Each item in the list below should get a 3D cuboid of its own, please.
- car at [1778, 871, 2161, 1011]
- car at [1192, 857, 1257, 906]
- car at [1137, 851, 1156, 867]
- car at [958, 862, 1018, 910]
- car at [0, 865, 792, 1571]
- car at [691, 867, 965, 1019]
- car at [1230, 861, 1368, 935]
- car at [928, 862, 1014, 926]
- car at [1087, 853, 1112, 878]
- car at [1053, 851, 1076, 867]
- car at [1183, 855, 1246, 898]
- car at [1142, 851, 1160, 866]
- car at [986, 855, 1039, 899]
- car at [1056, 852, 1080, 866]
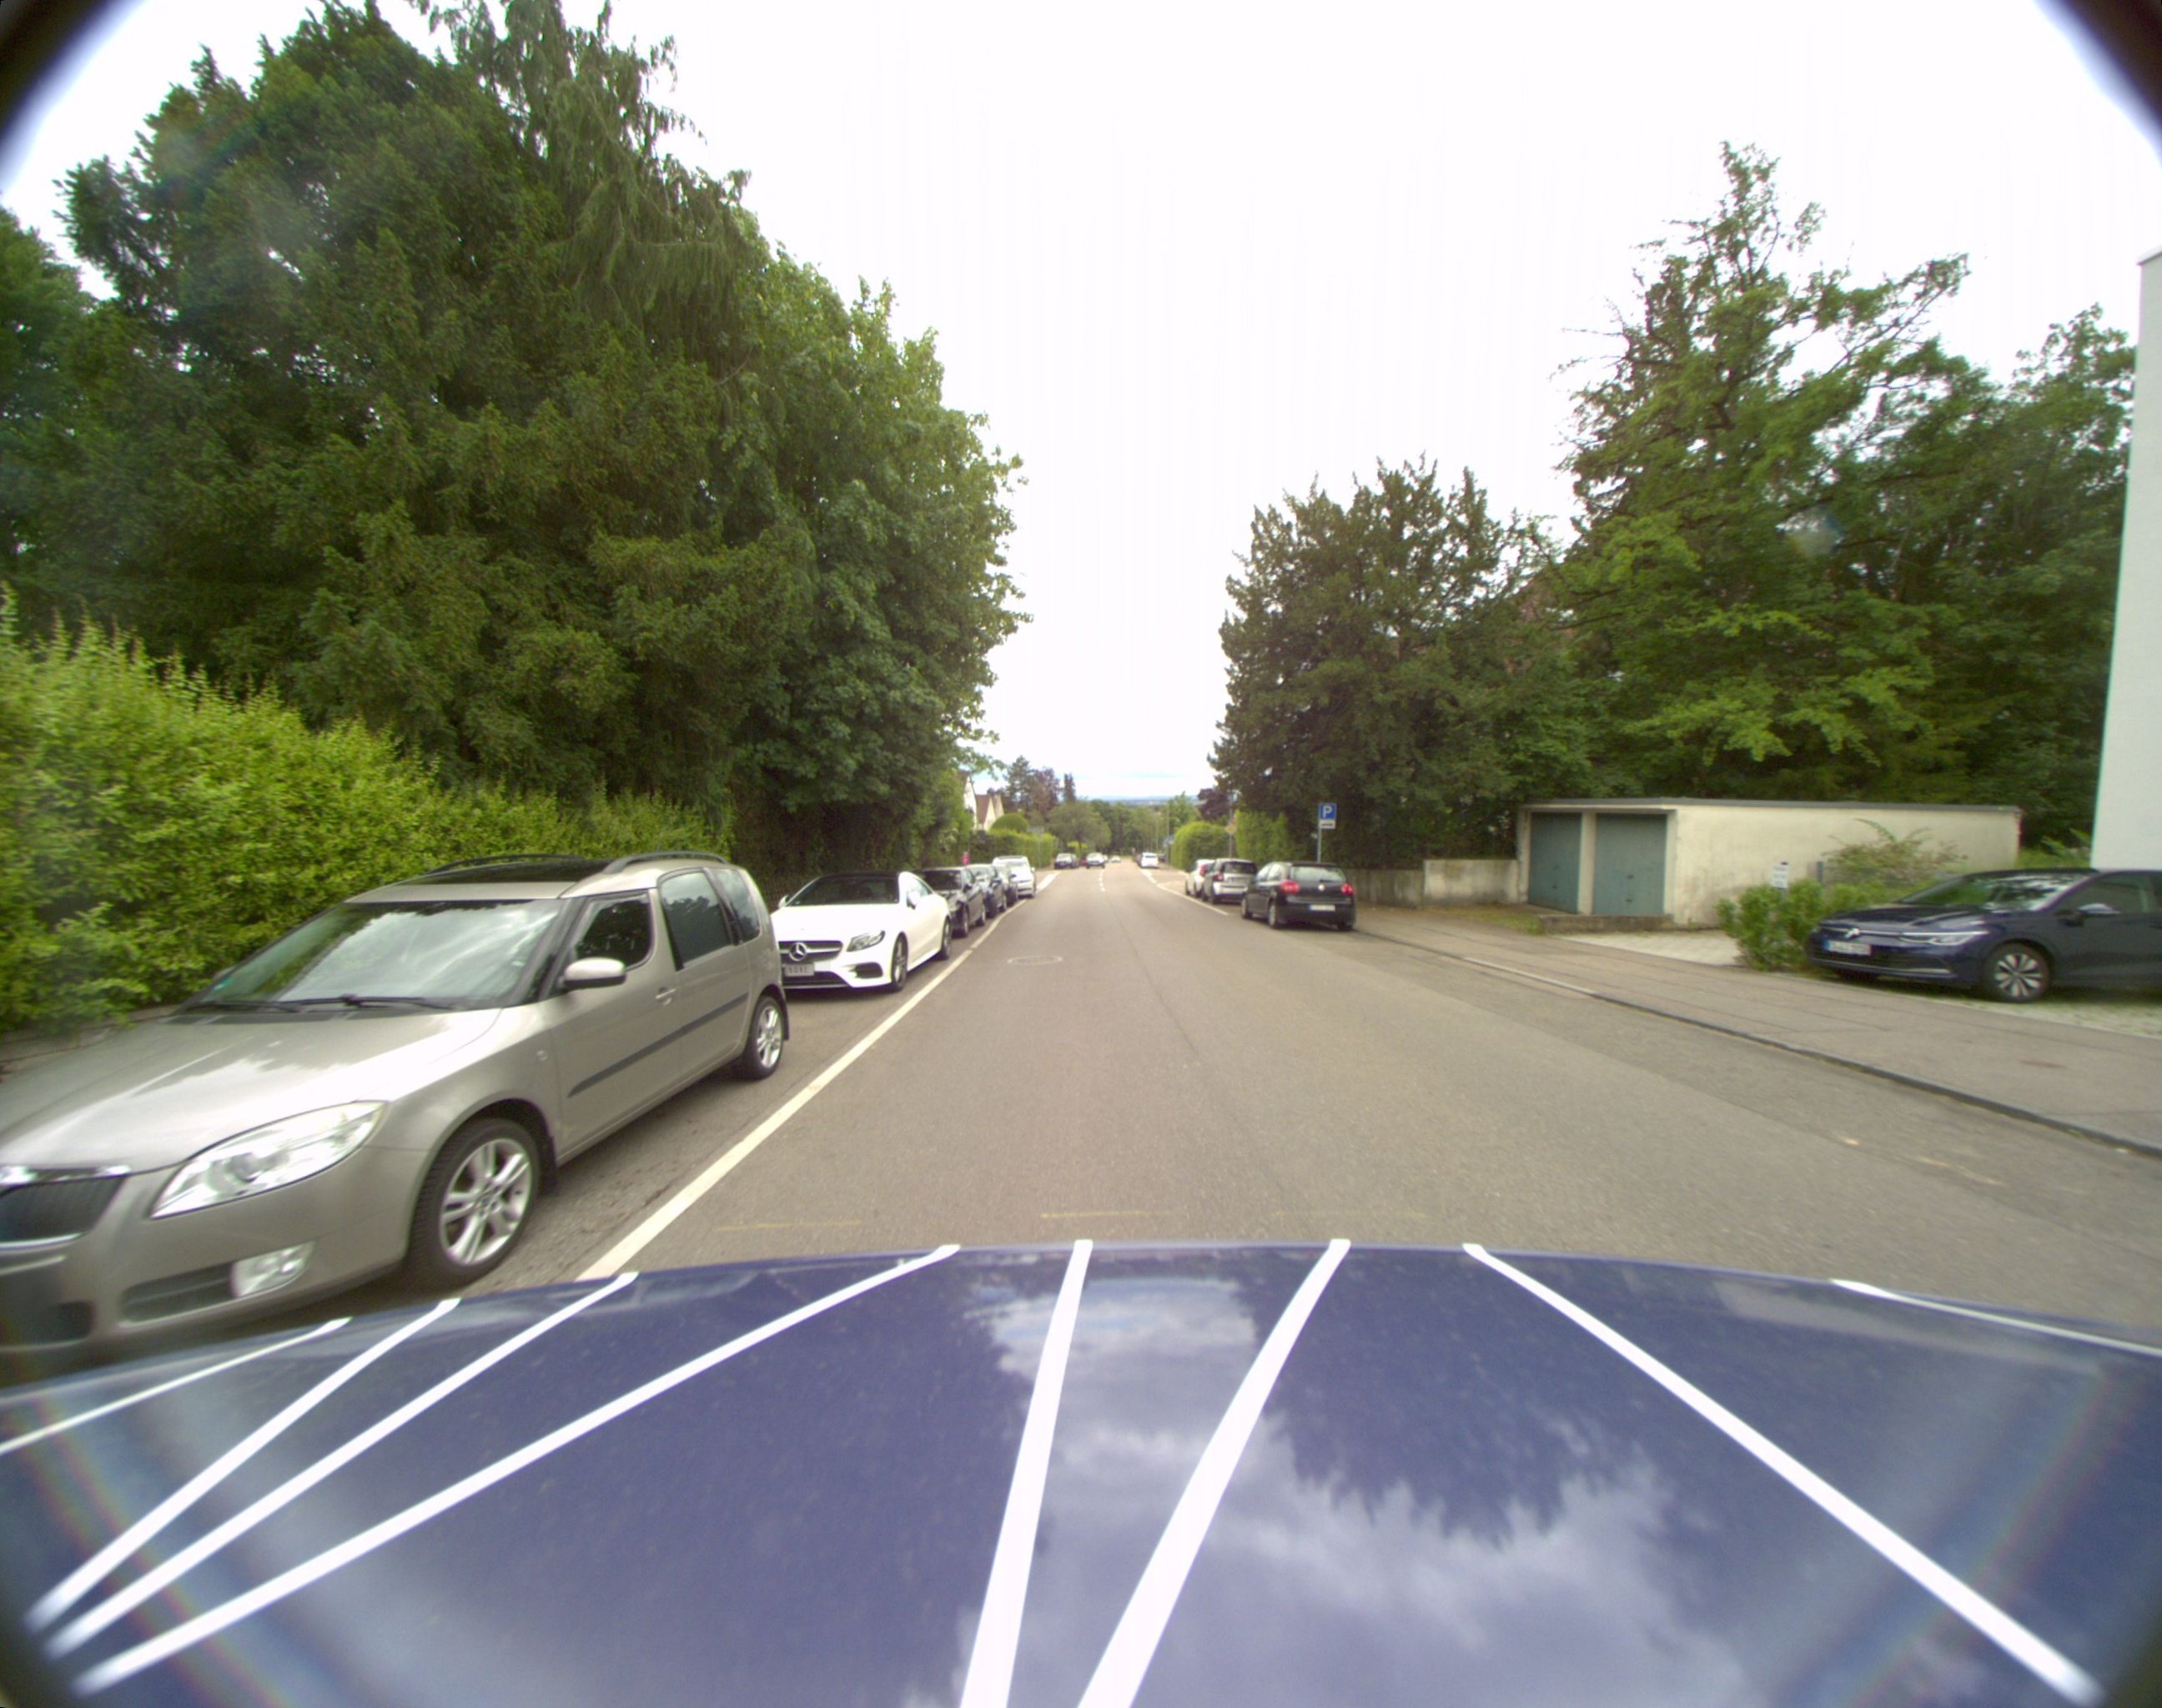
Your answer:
[{"bbox_3d":[10.576,0.903,8.682,3.805,1.346,1.740,0,1,-5],"label":"car"},{"bbox_3d":[4.831,0.895,25.847,1.628,1.510,2.975,0,1,-1],"label":"car"},{"bbox_3d":[6.879,0.503,79.635,1.786,1.481,4.739,3,1,4],"label":"car"},{"bbox_3d":[-3.127,1.024,26.247,1.815,1.444,4.376,0,0,-4],"label":"car"},{"bbox_3d":[-3.105,0.936,3.802,1.721,1.623,3.928,-2,0,1],"label":"car"},{"bbox_3d":[-3.048,0.979,10.491,1.998,1.483,5.004,1,0,1],"label":"car"},{"bbox_3d":[4.950,0.920,18.005,1.855,1.461,4.682,0,0,-1],"label":"car"},{"bbox_3d":[-2.969,1.023,21.271,1.702,1.499,4.160,-2,0,1],"label":"car"},{"bbox_3d":[1.794,1.068,73.858,1.999,2.001,4.000,-11,0,0],"label":"car"},{"bbox_3d":[-1.556,0.496,73.587,1.794,1.480,4.380,1,0,4],"label":"car"},{"bbox_3d":[5.172,0.833,29.811,1.749,1.439,3.513,3,0,-1],"label":"car"},{"bbox_3d":[6.848,0.423,74.411,1.693,1.411,3.580,0,0,4],"label":"car"},{"bbox_3d":[-2.743,0.871,30.924,2.006,1.599,4.756,1,0,-4],"label":"car"},{"bbox_3d":[-1.315,0.506,79.015,1.927,1.485,5.211,0,0,6],"label":"car"}]
